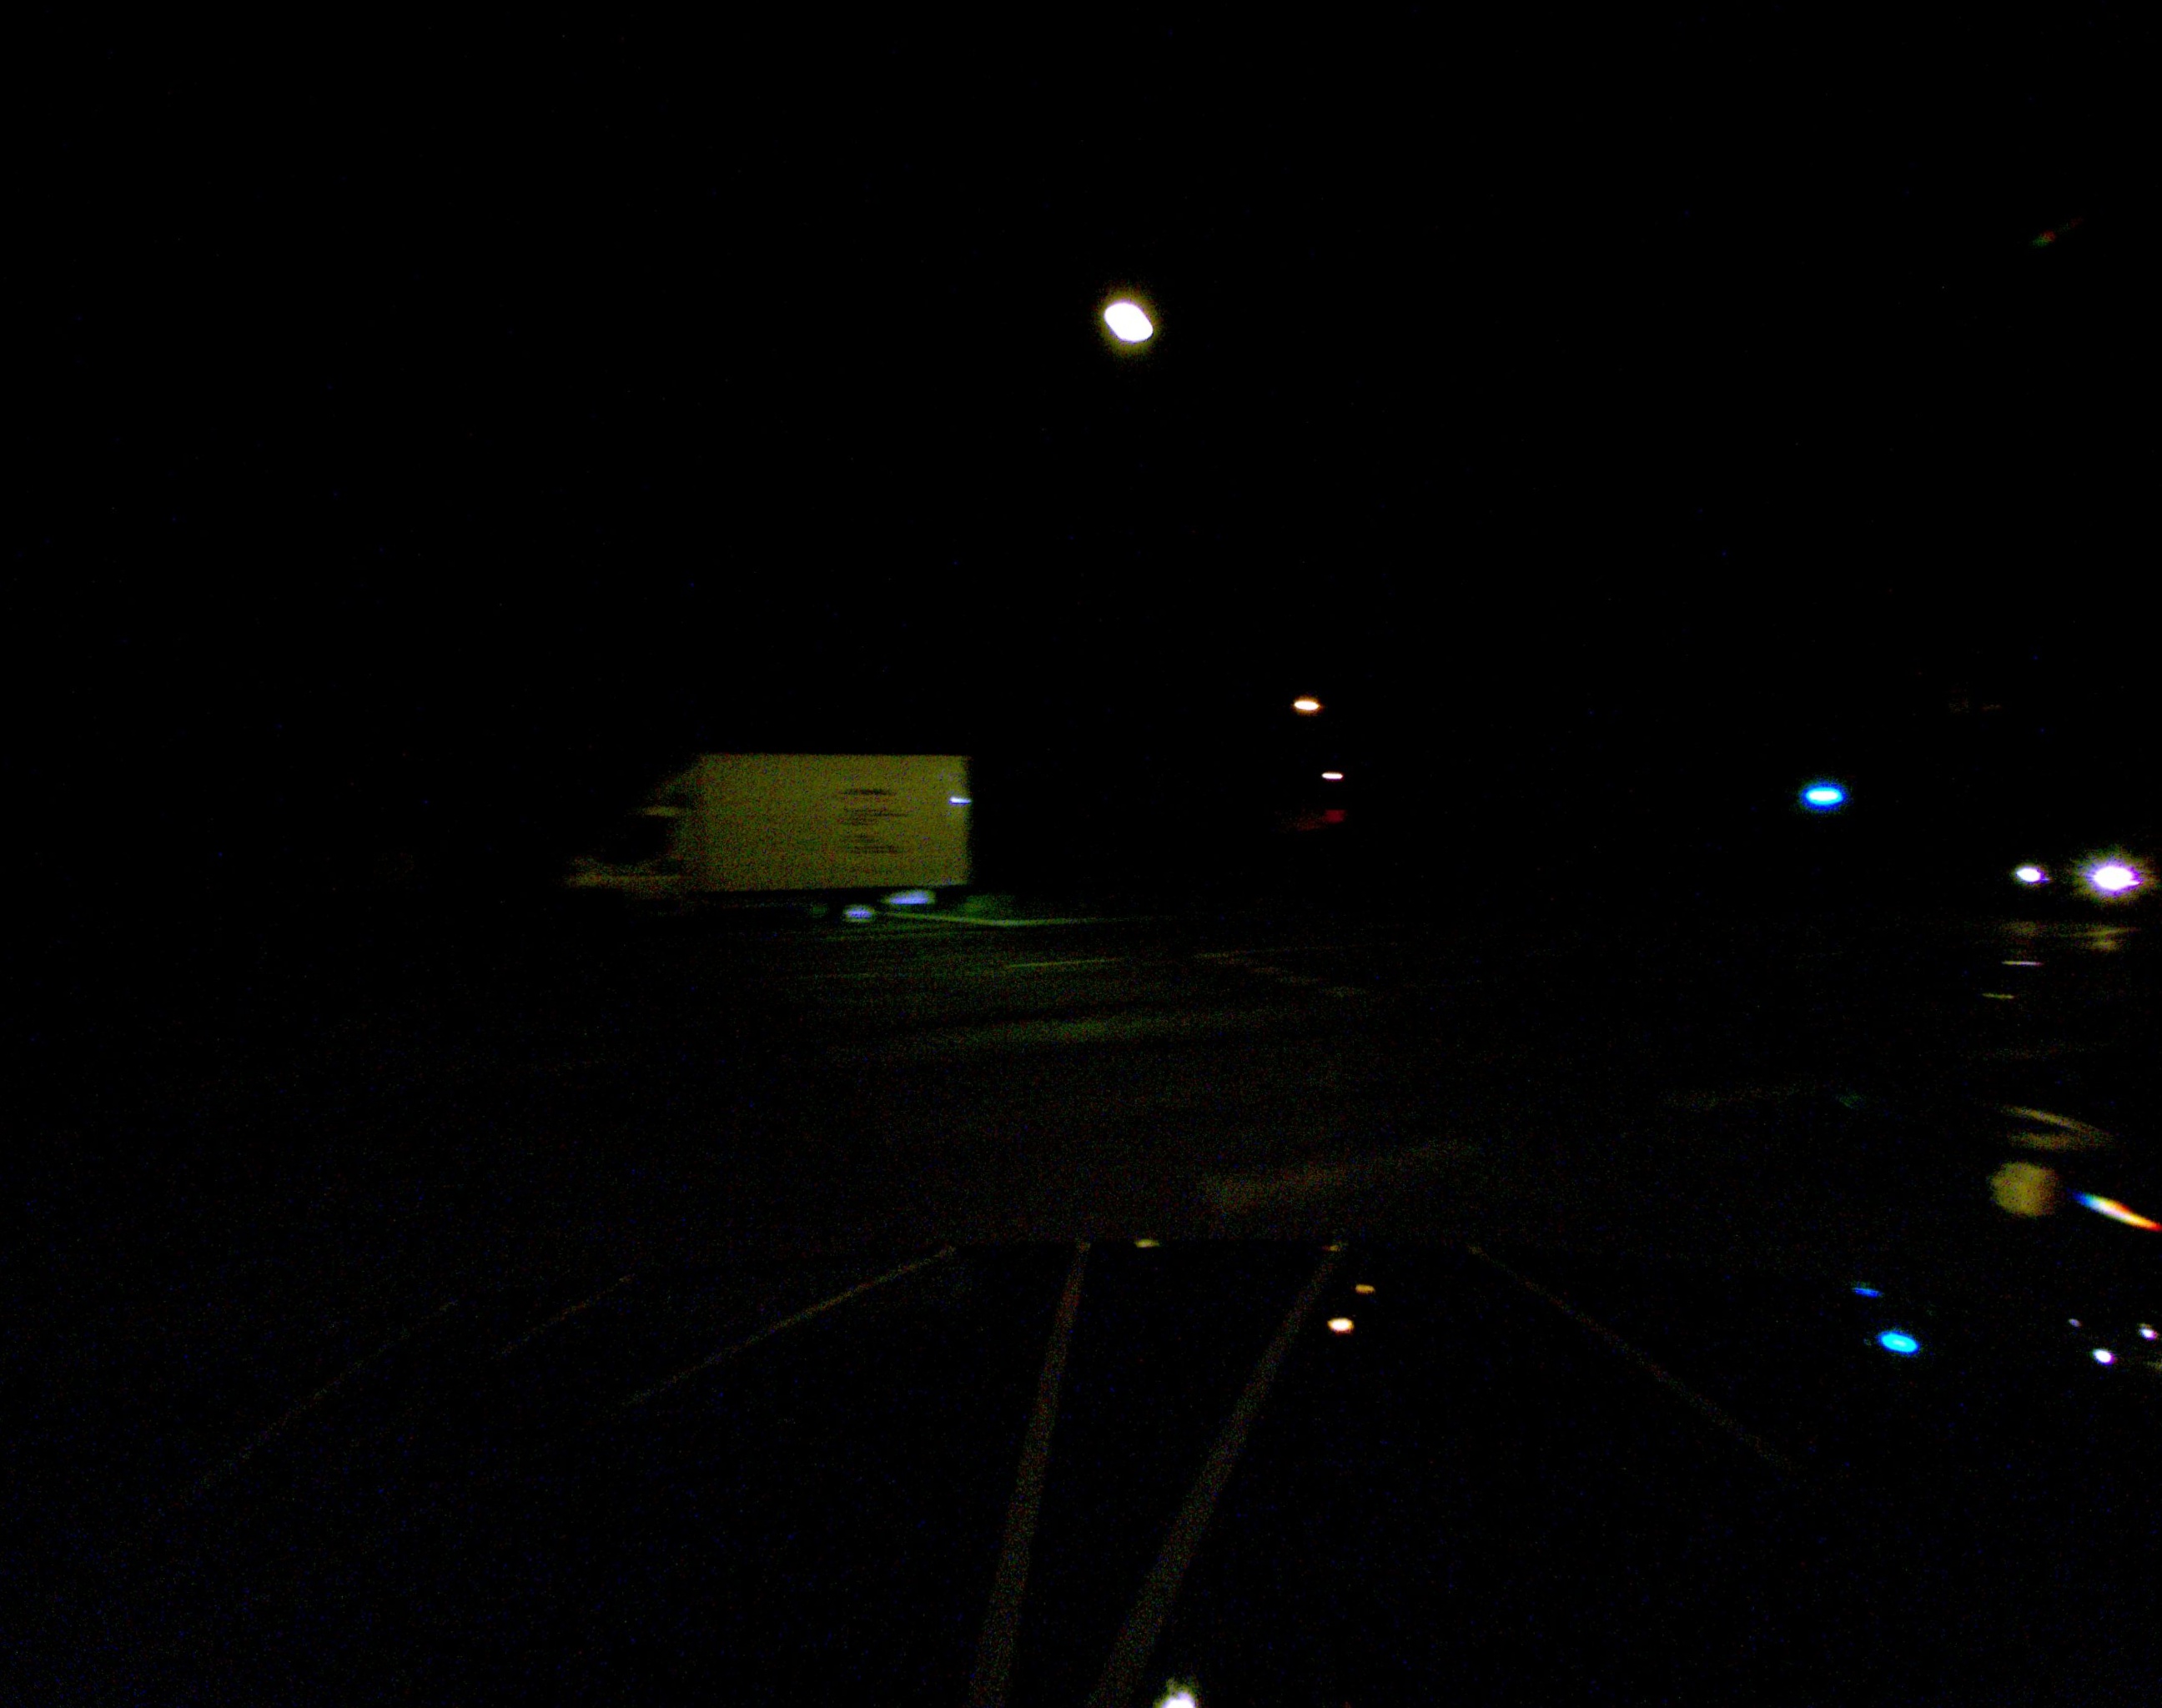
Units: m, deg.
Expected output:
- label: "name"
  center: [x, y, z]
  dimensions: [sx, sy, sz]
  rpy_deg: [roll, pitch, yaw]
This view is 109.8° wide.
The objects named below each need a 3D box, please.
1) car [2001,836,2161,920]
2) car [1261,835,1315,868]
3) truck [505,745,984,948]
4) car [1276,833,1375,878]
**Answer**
- label: "car"
  center: [20.220, 0.430, 15.025]
  dimensions: [3.052, 1.493, 1.512]
  rpy_deg: [-1, 1, -17]
- label: "car"
  center: [9.528, -0.155, 35.301]
  dimensions: [1.877, 1.379, 4.078]
  rpy_deg: [-2, 1, 8]
- label: "truck"
  center: [-5.454, -0.265, 13.589]
  dimensions: [7.040, 3.029, 2.767]
  rpy_deg: [-1, 4, -15]
- label: "car"
  center: [9.303, 0.019, 29.354]
  dimensions: [2.053, 1.547, 4.252]
  rpy_deg: [-2, 1, -6]
